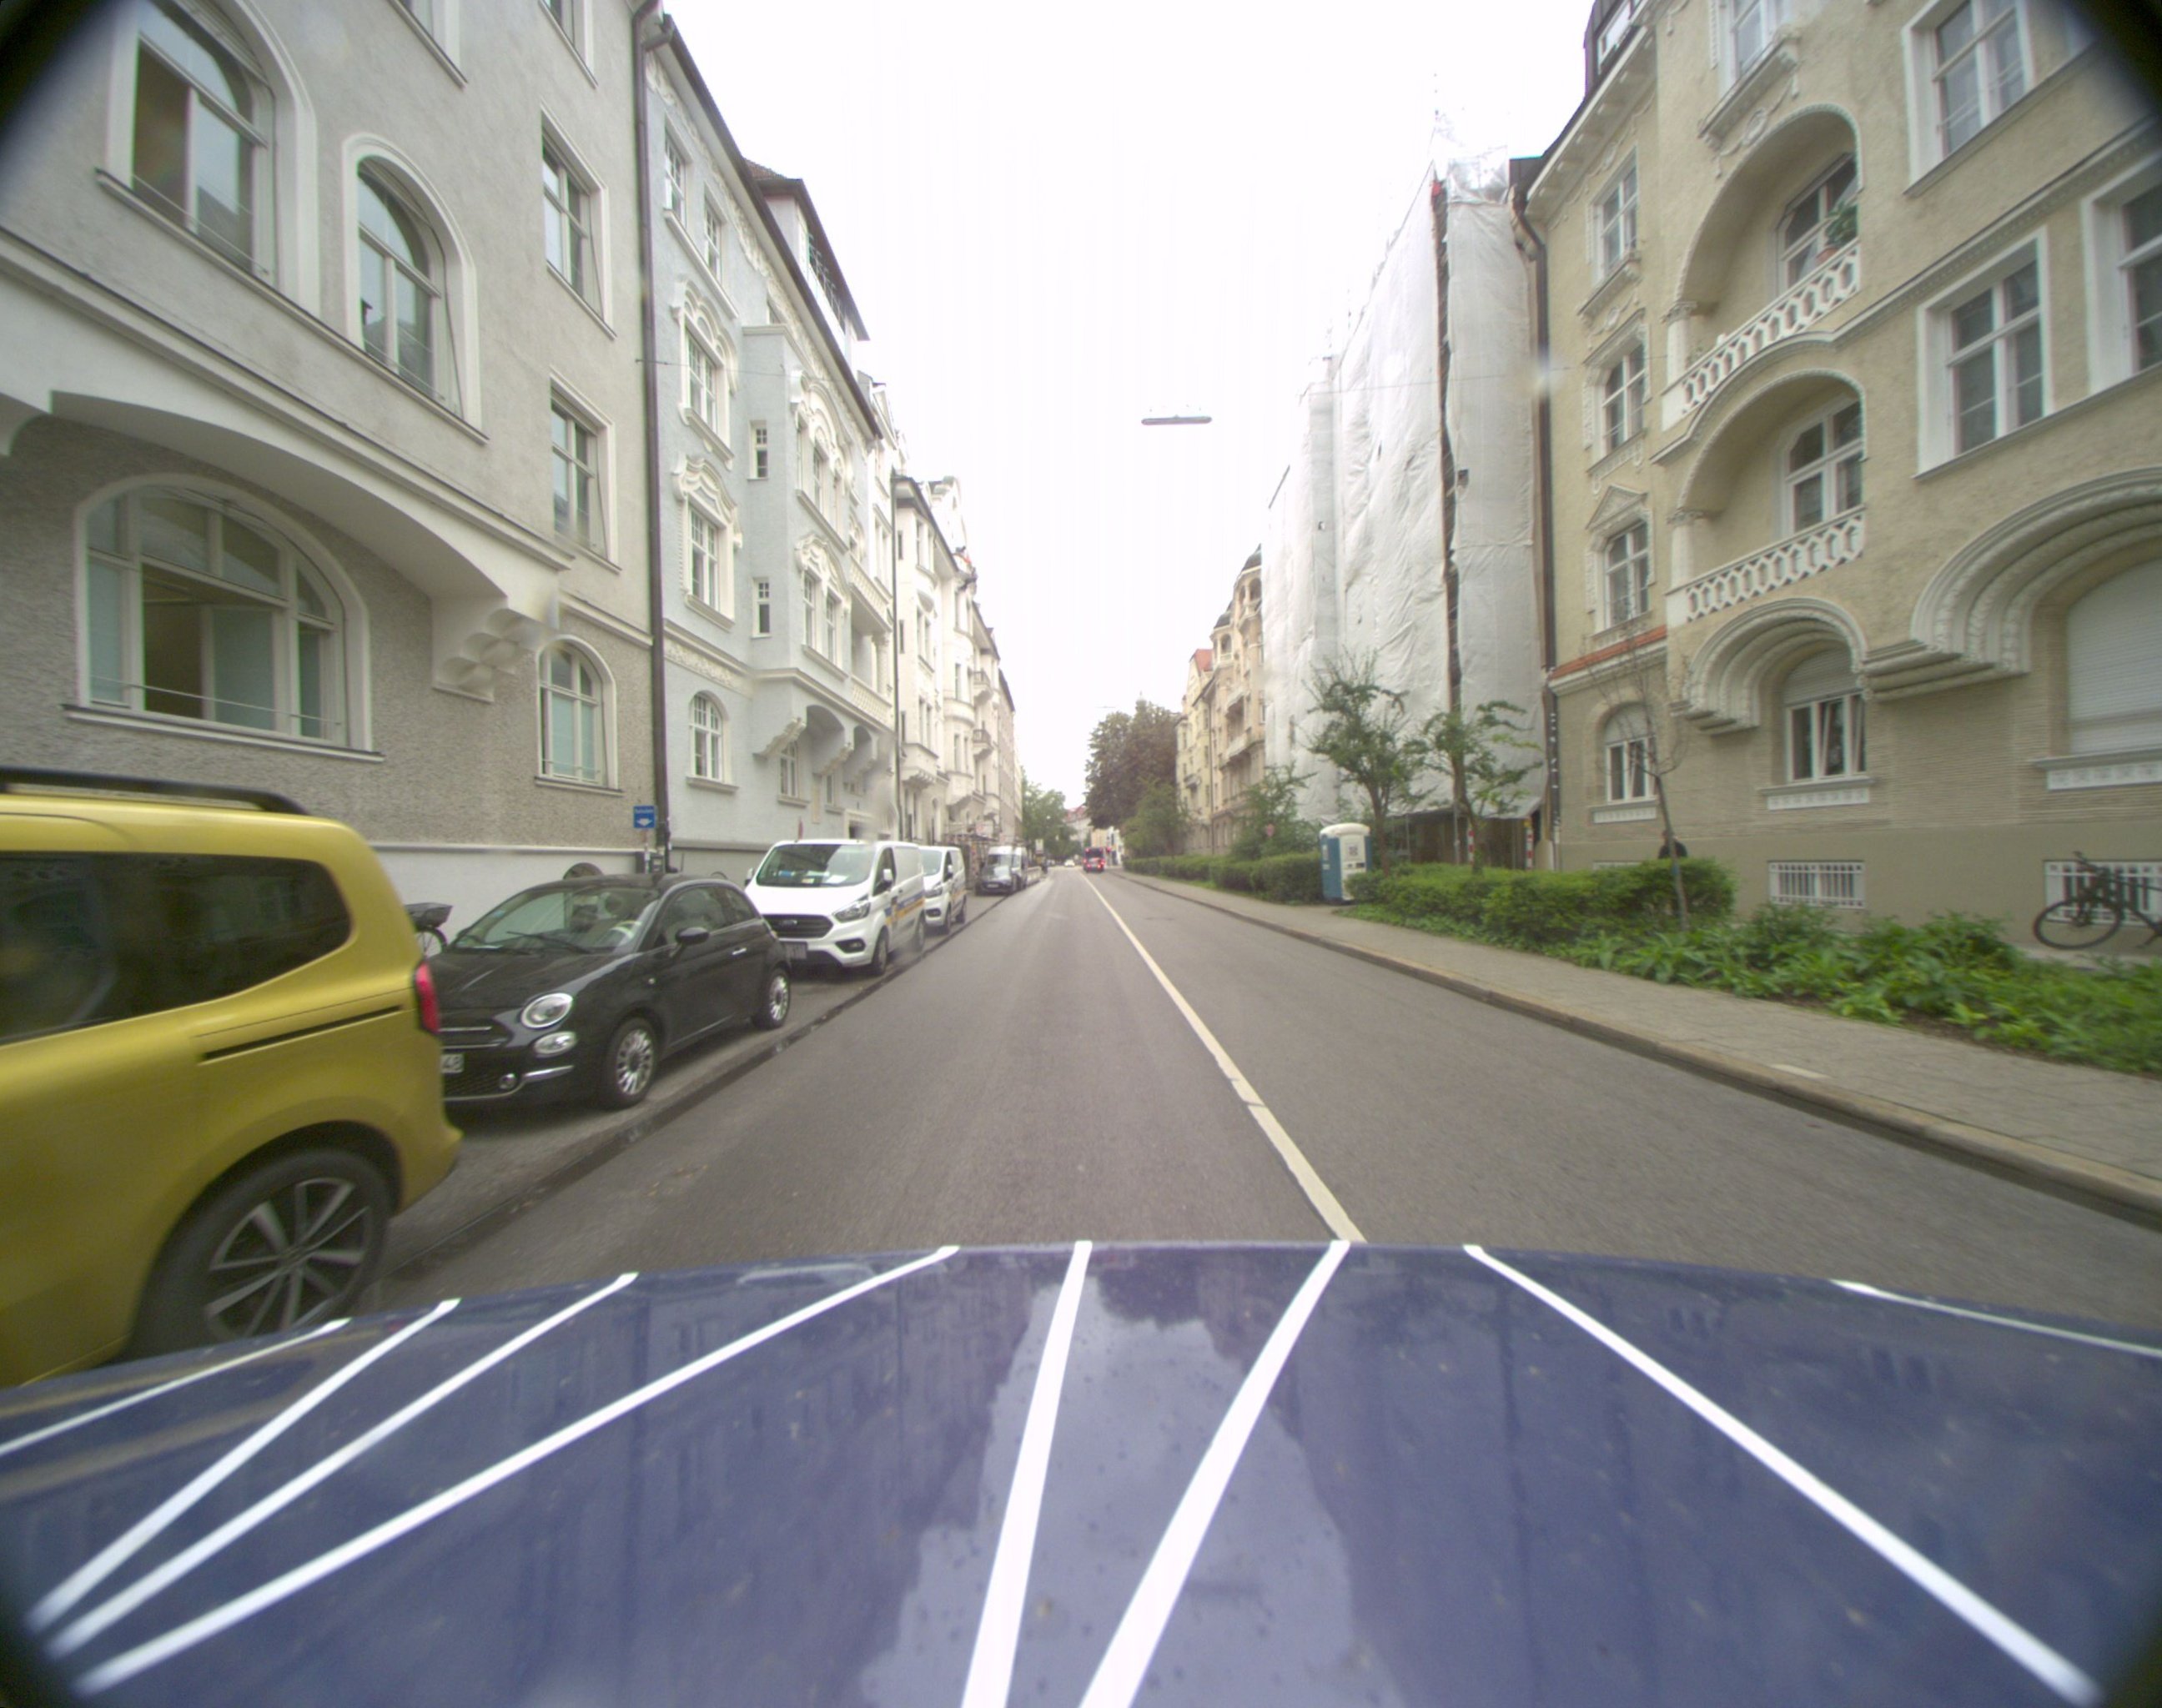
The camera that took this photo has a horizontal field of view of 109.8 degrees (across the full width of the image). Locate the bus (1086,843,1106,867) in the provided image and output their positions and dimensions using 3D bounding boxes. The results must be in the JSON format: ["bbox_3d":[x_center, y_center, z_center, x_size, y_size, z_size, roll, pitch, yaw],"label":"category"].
[{"bbox_3d":[1.980,0.130,102.619,2.586,3.082,8.922,-1,0,0],"label":"bus"}]

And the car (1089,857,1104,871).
[{"bbox_3d":[1.761,1.082,85.859,1.588,1.470,3.782,-1,0,-1],"label":"car"}]

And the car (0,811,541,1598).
[{"bbox_3d":[-3.509,0.837,1.074,1.854,1.842,4.821,-1,0,3],"label":"car"}]

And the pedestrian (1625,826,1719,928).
[{"bbox_3d":[10.497,0.398,13.534,0.916,1.741,0.948,-1,0,-1],"label":"pedestrian"}]

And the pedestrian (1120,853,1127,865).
[{"bbox_3d":[7.118,0.764,127.753,0.952,2.002,1.397,-1,0,9],"label":"pedestrian"}]

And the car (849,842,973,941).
[{"bbox_3d":[-3.854,0.781,18.126,1.964,2.002,4.992,-1,0,-2],"label":"car"}]

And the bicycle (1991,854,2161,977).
[{"bbox_3d":[11.652,0.645,8.561,0.747,1.268,1.703,-1,0,0],"label":"bicycle"}]

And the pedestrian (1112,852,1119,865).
[{"bbox_3d":[5.804,0.754,128.036,0.952,2.002,1.397,-1,0,9],"label":"pedestrian"}]

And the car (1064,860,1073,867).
[{"bbox_3d":[-2.681,2.029,163.301,1.927,1.608,3.999,-2,0,-1],"label":"car"}]

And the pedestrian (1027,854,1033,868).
[{"bbox_3d":[-6.364,0.907,95.038,0.659,1.723,0.696,-1,0,0],"label":"pedestrian"}]

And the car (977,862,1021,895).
[{"bbox_3d":[-3.904,1.154,36.835,1.758,1.426,4.086,-1,0,-1],"label":"car"}]

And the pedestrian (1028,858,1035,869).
[{"bbox_3d":[-5.901,1.138,90.665,0.709,1.230,0.585,-1,0,0],"label":"pedestrian"}]

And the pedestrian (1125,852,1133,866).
[{"bbox_3d":[6.086,0.663,95.802,0.910,1.735,0.847,-1,1,-1],"label":"pedestrian"}]

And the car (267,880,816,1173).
[{"bbox_3d":[-3.650,1.027,6.102,1.635,1.475,3.783,-1,0,1],"label":"car"}]

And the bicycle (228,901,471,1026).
[{"bbox_3d":[-7.944,1.127,8.419,0.696,1.087,2.037,1,0,1],"label":"bicycle"}]

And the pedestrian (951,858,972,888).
[{"bbox_3d":[-6.330,0.994,40.316,0.923,1.546,1.016,1,2,-1],"label":"pedestrian"}]

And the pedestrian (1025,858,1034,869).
[{"bbox_3d":[-6.081,1.118,89.622,1.099,1.230,0.668,-1,0,0],"label":"pedestrian"}]

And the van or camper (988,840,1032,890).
[{"bbox_3d":[-3.915,0.559,42.922,1.958,2.621,5.458,-1,0,0],"label":"van or camper"}]

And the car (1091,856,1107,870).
[{"bbox_3d":[2.212,1.113,92.305,1.772,1.635,4.273,-1,0,-1],"label":"car"}]

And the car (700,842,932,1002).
[{"bbox_3d":[-3.731,0.834,11.811,1.964,1.926,4.992,-1,0,-2],"label":"car"}]
